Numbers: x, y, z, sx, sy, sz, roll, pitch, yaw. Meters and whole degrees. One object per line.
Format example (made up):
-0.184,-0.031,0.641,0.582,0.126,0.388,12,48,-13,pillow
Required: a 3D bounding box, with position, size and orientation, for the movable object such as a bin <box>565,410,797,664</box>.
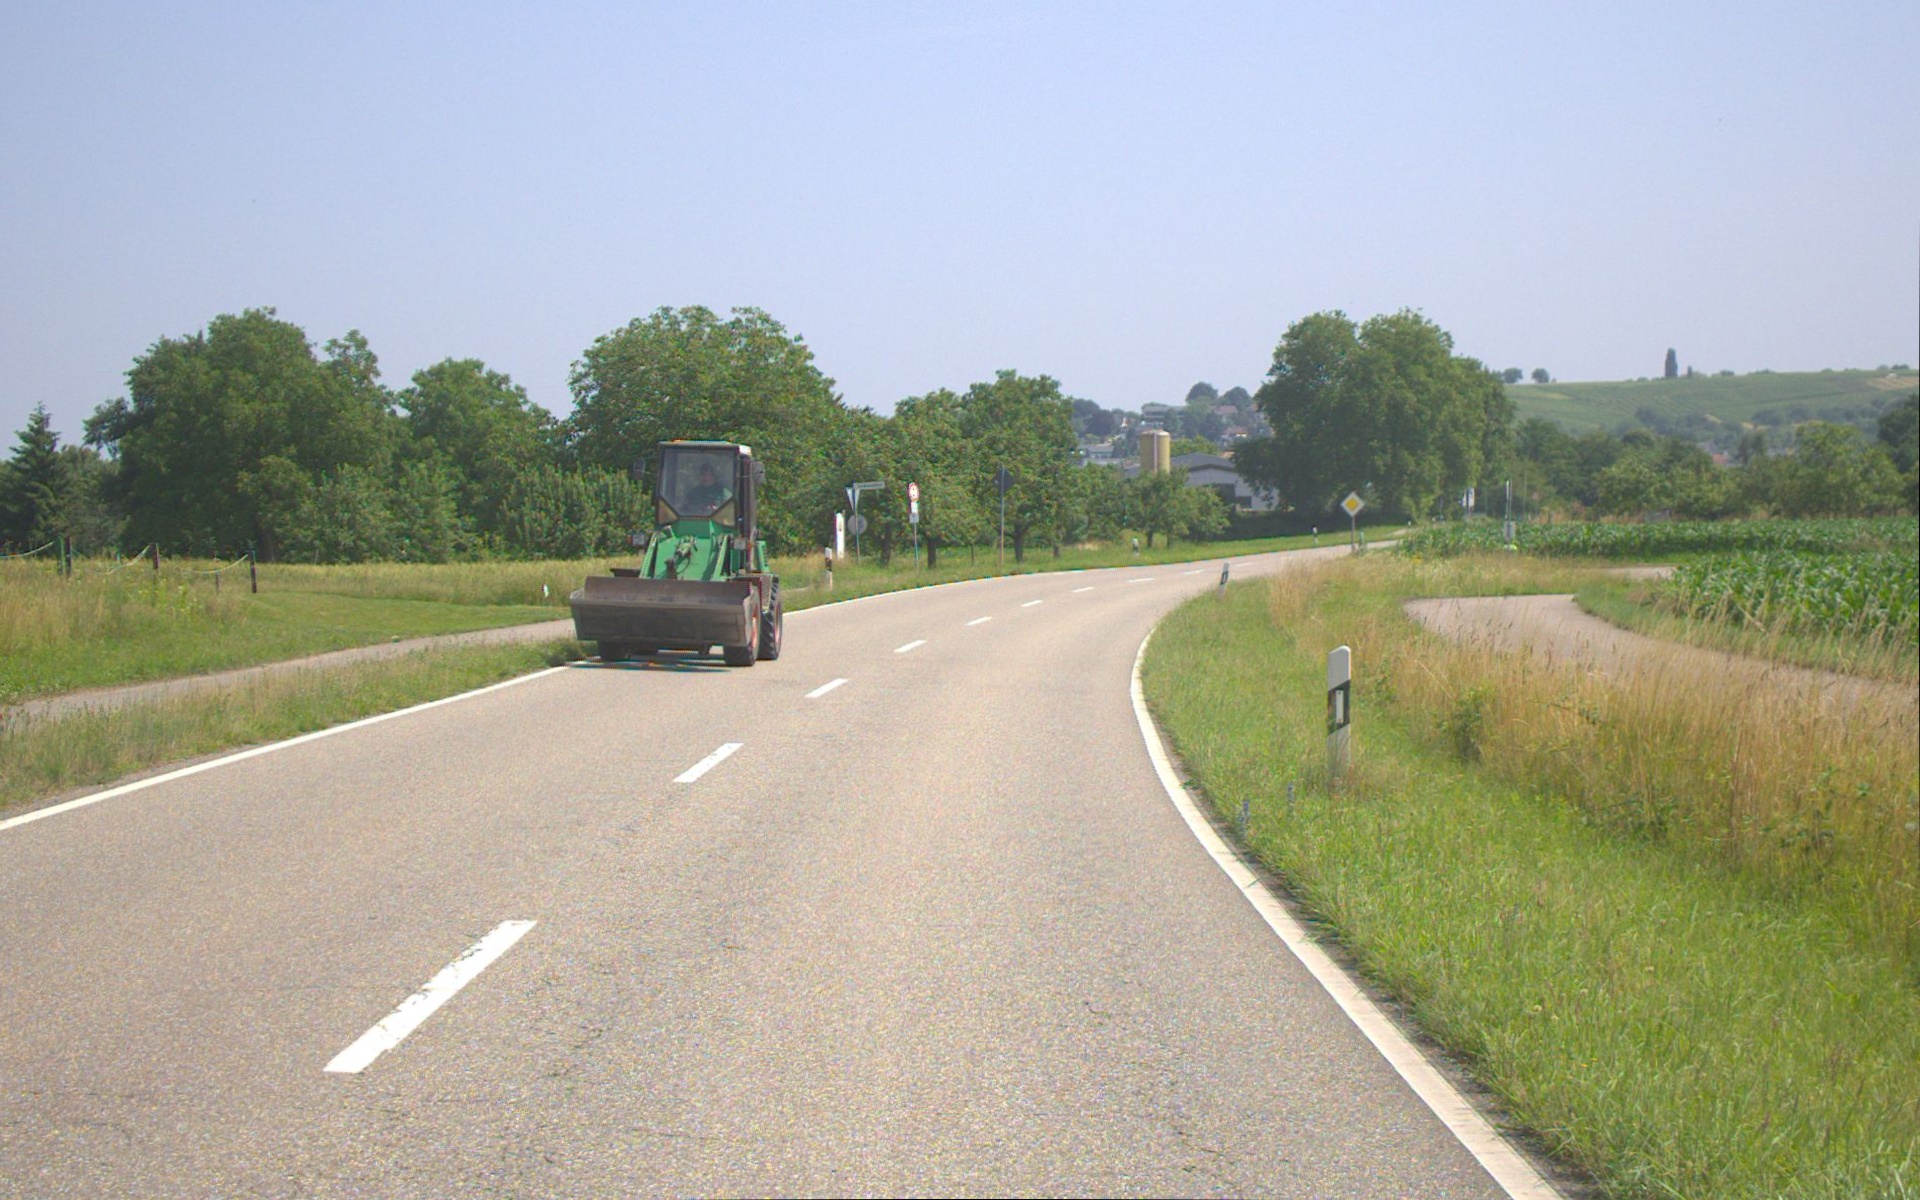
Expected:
-3.222,-0.753,40.718,2.001,2.745,5.230,2,1,3,movable object such as a bin
